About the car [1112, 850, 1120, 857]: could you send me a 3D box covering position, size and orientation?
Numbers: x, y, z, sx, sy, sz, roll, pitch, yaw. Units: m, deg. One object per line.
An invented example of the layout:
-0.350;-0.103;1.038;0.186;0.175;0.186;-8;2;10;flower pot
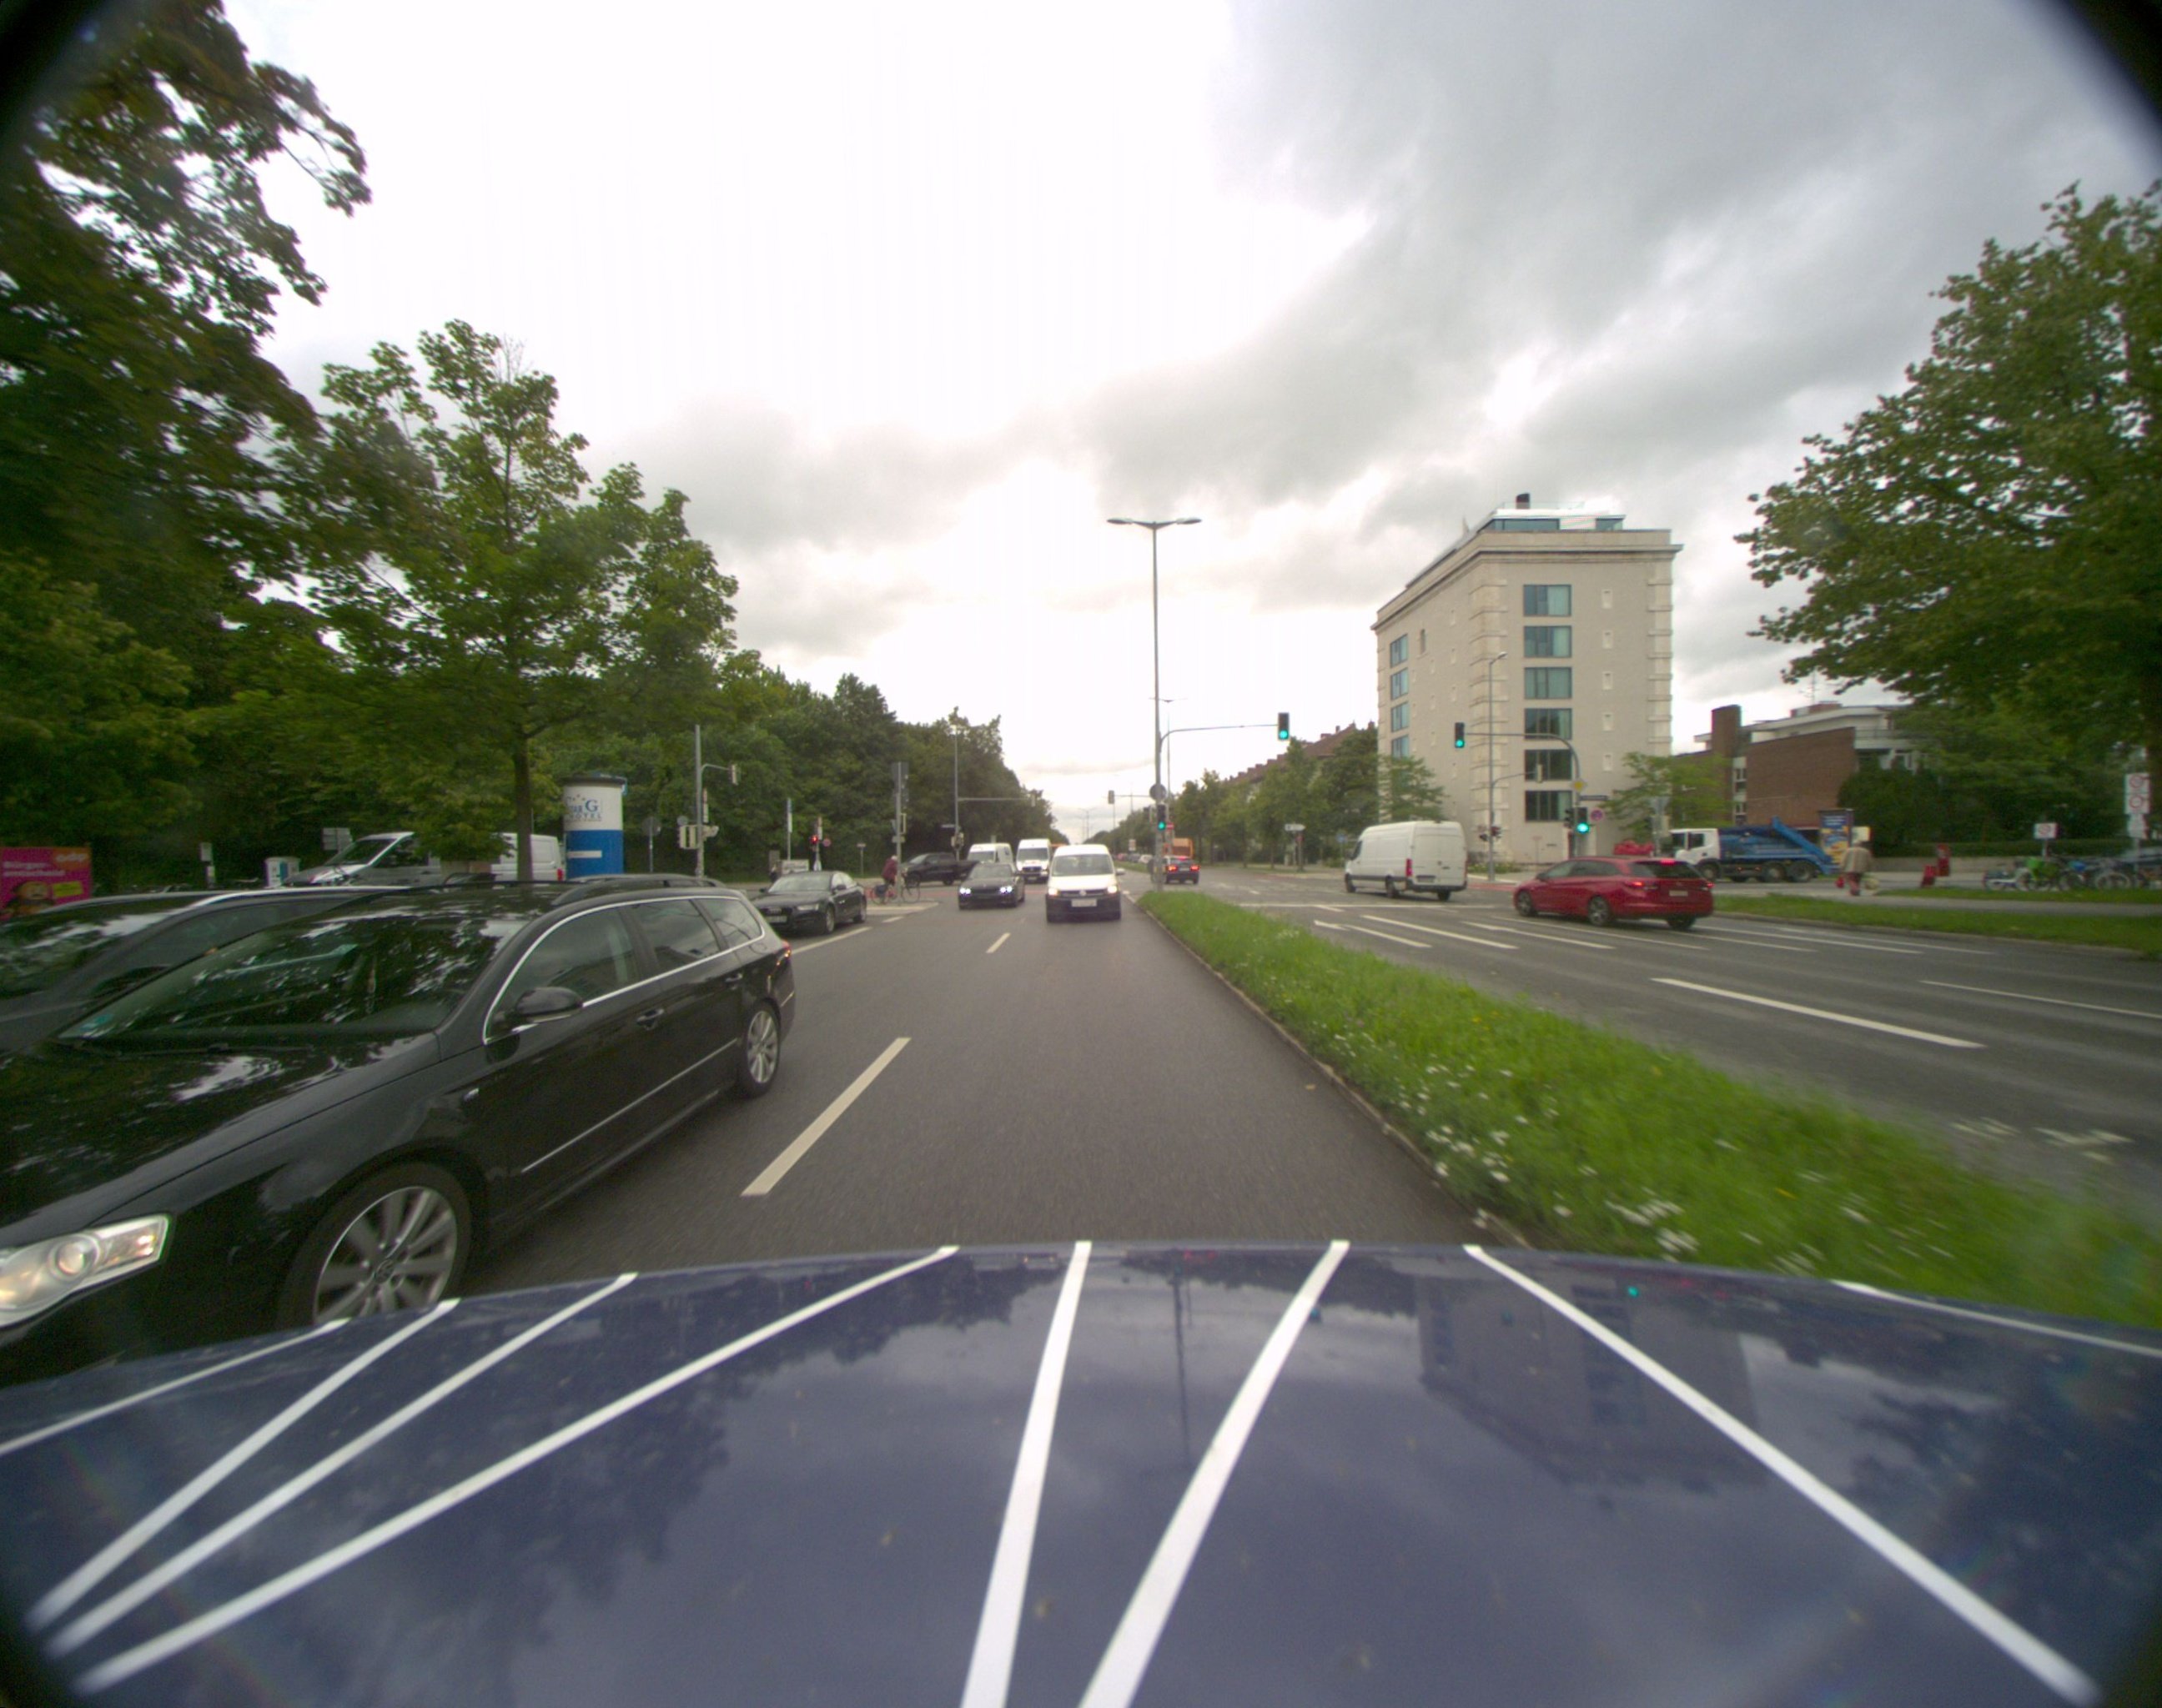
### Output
10.784;-0.129;233.684;1.999;2.002;3.999;-1;0;-1;car

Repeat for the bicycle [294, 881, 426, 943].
-14.694;1.169;15.533;1.946;1.205;0.567;1;1;-11;bicycle

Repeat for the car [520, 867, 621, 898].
-26.077;1.425;38.950;3.949;1.445;1.626;-1;1;-7;car

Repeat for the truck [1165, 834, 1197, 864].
11.535;-0.603;88.342;2.787;3.337;7.265;-1;0;0;truck

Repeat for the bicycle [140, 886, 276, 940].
-21.376;1.404;18.668;0.716;1.147;2.133;0;1;41;bicycle

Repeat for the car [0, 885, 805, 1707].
-2.974;1.006;3.486;1.752;1.466;4.670;-2;0;-1;car

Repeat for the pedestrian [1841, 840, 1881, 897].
23.861;0.434;23.255;0.709;1.730;0.517;-1;1;-4;pedestrian

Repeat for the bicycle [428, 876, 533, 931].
-14.463;1.157;18.385;0.863;1.191;2.000;1;1;5;bicycle

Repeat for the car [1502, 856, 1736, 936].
11.256;0.786;16.404;1.747;1.443;4.657;1;0;0;car

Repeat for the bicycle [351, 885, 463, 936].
-14.859;1.239;16.781;1.812;1.065;0.567;1;1;-11;bicycle

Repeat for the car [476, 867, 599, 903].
-25.380;1.431;35.592;4.312;1.489;1.887;-1;1;-3;car

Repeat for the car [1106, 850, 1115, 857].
6.573;-0.060;169.802;1.702;1.560;4.290;-1;0;-2;car

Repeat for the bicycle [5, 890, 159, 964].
-16.515;1.196;12.581;1.810;1.136;0.567;1;1;1;bicycle

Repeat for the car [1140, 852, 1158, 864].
8.277;0.481;93.007;1.732;1.478;4.742;-1;0;0;car

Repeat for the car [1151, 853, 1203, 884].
4.856;0.686;38.872;1.645;1.478;3.778;-1;0;-9;car

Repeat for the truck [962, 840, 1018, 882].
-6.000;0.394;51.257;1.997;2.589;7.230;-1;1;7;truck

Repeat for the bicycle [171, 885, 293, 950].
-15.987;1.177;14.322;1.810;1.136;0.567;1;1;6;bicycle

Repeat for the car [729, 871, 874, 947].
-6.259;1.166;17.639;1.715;1.352;4.620;-2;0;-1;car

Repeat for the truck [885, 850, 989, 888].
-8.258;0.790;44.094;2.100;2.002;5.824;0;1;43;truck

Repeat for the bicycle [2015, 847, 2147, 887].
31.391;0.382;23.931;0.837;1.179;2.496;-1;0;-1;bicycle

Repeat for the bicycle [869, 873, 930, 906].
-6.474;1.242;27.110;1.951;1.075;0.746;-1;1;-35;bicycle

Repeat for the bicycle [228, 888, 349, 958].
-14.052;1.205;13.483;1.809;1.136;0.568;1;1;9;bicycle

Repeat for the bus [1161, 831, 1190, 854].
14.249;-1.657;115.396;2.752;3.324;12.047;0;0;-1;bus

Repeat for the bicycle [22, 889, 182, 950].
-21.756;1.424;16.970;0.716;1.147;2.133;0;1;41;bicycle

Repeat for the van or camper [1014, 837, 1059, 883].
-2.581;0.329;45.852;2.183;2.546;7.074;-1;0;1;van or camper

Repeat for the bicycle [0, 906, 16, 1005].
-13.891;1.173;8.780;2.344;1.151;0.585;1;0;0;bicycle

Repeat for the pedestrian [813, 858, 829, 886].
-15.926;1.072;46.600;0.762;1.693;0.938;-1;1;-9;pedestrian

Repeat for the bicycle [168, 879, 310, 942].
-16.802;1.114;15.200;1.946;1.205;0.567;1;1;-11;bicycle

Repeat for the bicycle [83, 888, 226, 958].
-16.075;1.184;13.206;1.810;1.136;0.567;1;1;1;bicycle

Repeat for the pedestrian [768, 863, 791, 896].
-14.345;1.203;36.184;0.691;1.529;0.738;-1;1;20;pedestrian

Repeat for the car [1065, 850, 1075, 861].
-2.185;0.256;150.209;1.998;2.002;4.000;-1;0;1;car

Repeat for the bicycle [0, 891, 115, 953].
-21.495;1.385;15.497;2.133;1.147;0.716;-1;1;-45;bicycle

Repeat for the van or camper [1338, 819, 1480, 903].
11.549;0.201;27.510;2.183;2.631;6.951;1;0;1;van or camper

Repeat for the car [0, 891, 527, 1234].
-6.249;1.144;5.000;1.752;1.538;4.642;-2;0;0;car

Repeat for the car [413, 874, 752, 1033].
-6.271;1.119;10.317;1.717;1.538;4.381;-1;0;-1;car

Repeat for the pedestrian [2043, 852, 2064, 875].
60.252;0.568;47.078;0.602;1.407;0.545;-1;2;-4;pedestrian

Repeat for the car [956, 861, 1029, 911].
-2.840;1.001;25.439;1.819;1.421;4.671;-1;0;1;car

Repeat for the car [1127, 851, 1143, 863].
7.562;0.434;107.014;1.867;1.533;4.749;3;0;1;car

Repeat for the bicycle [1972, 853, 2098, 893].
29.959;0.572;23.942;0.837;1.179;2.496;-1;0;-1;bicycle

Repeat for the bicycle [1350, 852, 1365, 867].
23.002;0.465;63.170;0.546;1.174;1.826;-1;0;-1;bicycle

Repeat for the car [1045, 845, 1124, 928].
0.077;0.716;19.329;1.752;1.809;4.671;-1;0;0;car

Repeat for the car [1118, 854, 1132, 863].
7.561;0.815;131.290;1.931;1.453;4.897;1;0;-1;car

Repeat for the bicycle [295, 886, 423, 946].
-14.171;1.204;14.952;1.812;1.136;0.567;1;1;-11;bicycle

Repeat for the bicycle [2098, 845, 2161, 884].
33.531;0.321;23.489;0.837;1.179;2.496;-1;0;-1;bicycle

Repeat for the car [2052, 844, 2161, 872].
55.631;0.191;40.829;4.211;1.408;1.927;-1;0;4;car

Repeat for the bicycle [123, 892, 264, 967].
-14.539;1.218;12.466;1.810;1.136;0.567;1;1;6;bicycle

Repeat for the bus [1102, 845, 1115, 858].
7.102;-0.617;199.255;2.752;3.324;12.271;0;0;-2;bus

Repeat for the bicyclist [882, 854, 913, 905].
-6.531;0.897;27.065;0.829;1.754;0.744;-2;1;-35;bicyclist

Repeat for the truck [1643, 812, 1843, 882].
34.811;-0.349;40.231;7.813;3.468;2.773;-1;1;7;truck

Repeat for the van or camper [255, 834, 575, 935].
-17.376;0.669;20.458;2.144;2.283;6.207;-1;0;18;van or camper

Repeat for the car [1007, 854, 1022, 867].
-9.049;0.842;104.259;1.752;1.640;4.254;-1;0;-1;car

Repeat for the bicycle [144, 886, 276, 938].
-21.964;1.425;19.216;0.716;1.147;2.133;0;1;41;bicycle

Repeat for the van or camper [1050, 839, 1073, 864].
-2.630;-0.387;103.689;2.780;3.219;7.074;-1;0;1;van or camper
